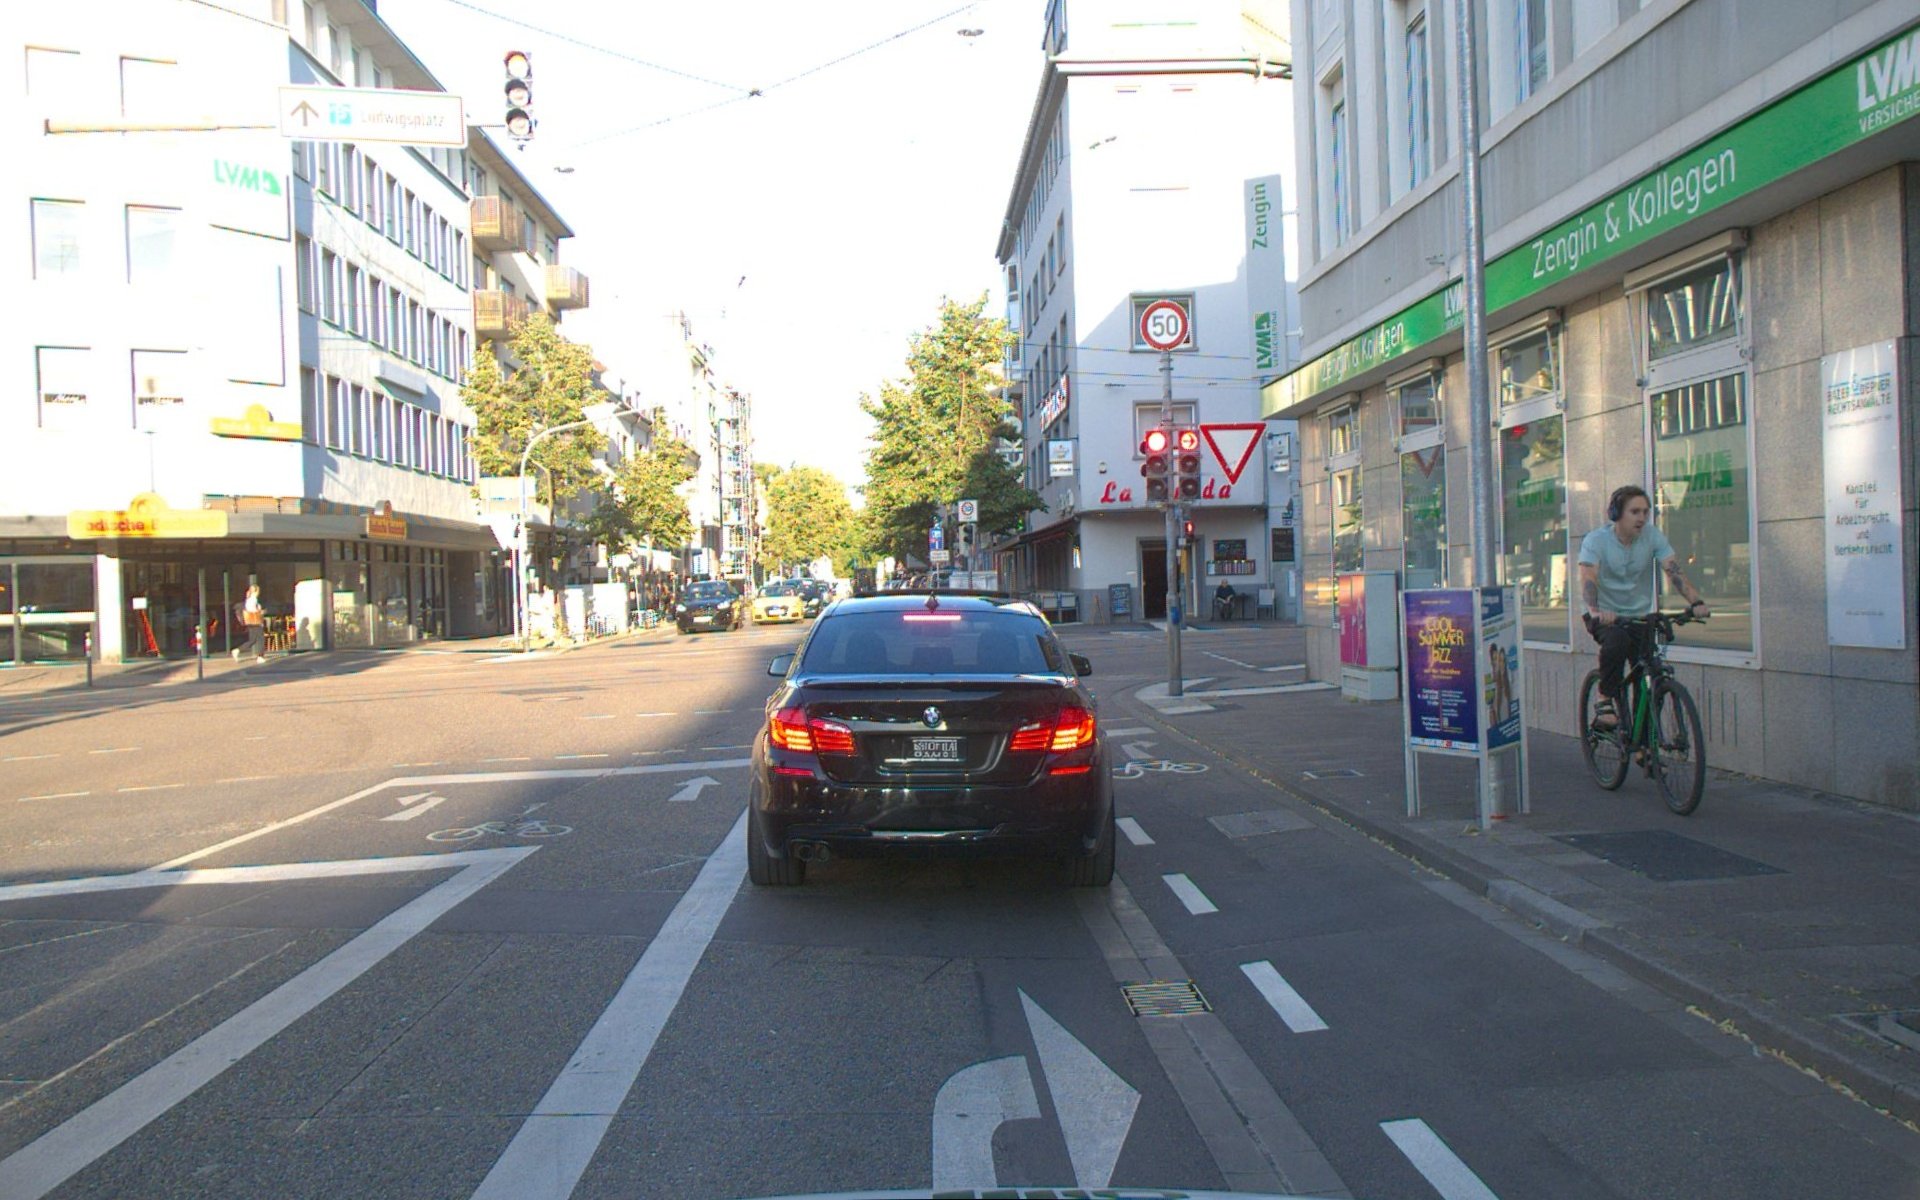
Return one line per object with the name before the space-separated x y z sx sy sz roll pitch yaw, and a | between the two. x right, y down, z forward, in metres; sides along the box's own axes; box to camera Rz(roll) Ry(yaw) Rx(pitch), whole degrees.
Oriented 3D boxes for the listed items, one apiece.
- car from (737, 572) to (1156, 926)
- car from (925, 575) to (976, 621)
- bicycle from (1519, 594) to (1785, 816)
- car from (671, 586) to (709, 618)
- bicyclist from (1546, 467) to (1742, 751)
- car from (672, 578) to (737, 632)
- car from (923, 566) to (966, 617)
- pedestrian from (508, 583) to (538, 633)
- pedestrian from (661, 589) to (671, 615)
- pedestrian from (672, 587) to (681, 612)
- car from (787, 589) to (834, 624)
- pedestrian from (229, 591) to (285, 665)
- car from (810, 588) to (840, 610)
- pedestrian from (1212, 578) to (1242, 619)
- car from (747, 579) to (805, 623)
car | -0.172 0.637 9.615 1.865 1.567 4.447 0 1 -3
car | -0.354 -0.079 56.573 1.593 1.497 3.393 -1 0 -3
bicycle | 3.934 0.545 9.580 0.676 1.126 1.895 -2 1 -2
car | -13.168 0.079 80.785 1.701 1.487 3.993 -2 1 -8
bicyclist | 3.911 0.047 9.518 0.707 1.534 0.899 -2 0 -1
car | -8.310 0.144 54.068 1.956 1.646 3.993 -2 1 -8
car | -0.624 -0.308 62.968 1.393 1.887 3.049 -1 0 -5
pedestrian | -15.223 0.286 57.621 0.807 1.705 0.871 -2 0 -3
pedestrian | -16.438 0.095 92.551 0.435 1.441 0.525 -2 0 -4
pedestrian | -16.059 -0.030 93.638 0.435 1.441 0.525 -2 0 -4
car | -6.015 0.230 66.328 1.701 1.315 3.993 -2 1 -8
pedestrian | -15.328 0.598 36.073 0.938 1.564 0.898 -2 0 -34
car | -8.612 -0.051 105.215 1.701 1.315 3.993 -2 1 -8
pedestrian | 7.812 -0.046 48.409 0.683 1.177 0.843 -2 0 -4
car | -6.659 0.027 59.544 1.956 1.467 3.993 -2 1 -8
